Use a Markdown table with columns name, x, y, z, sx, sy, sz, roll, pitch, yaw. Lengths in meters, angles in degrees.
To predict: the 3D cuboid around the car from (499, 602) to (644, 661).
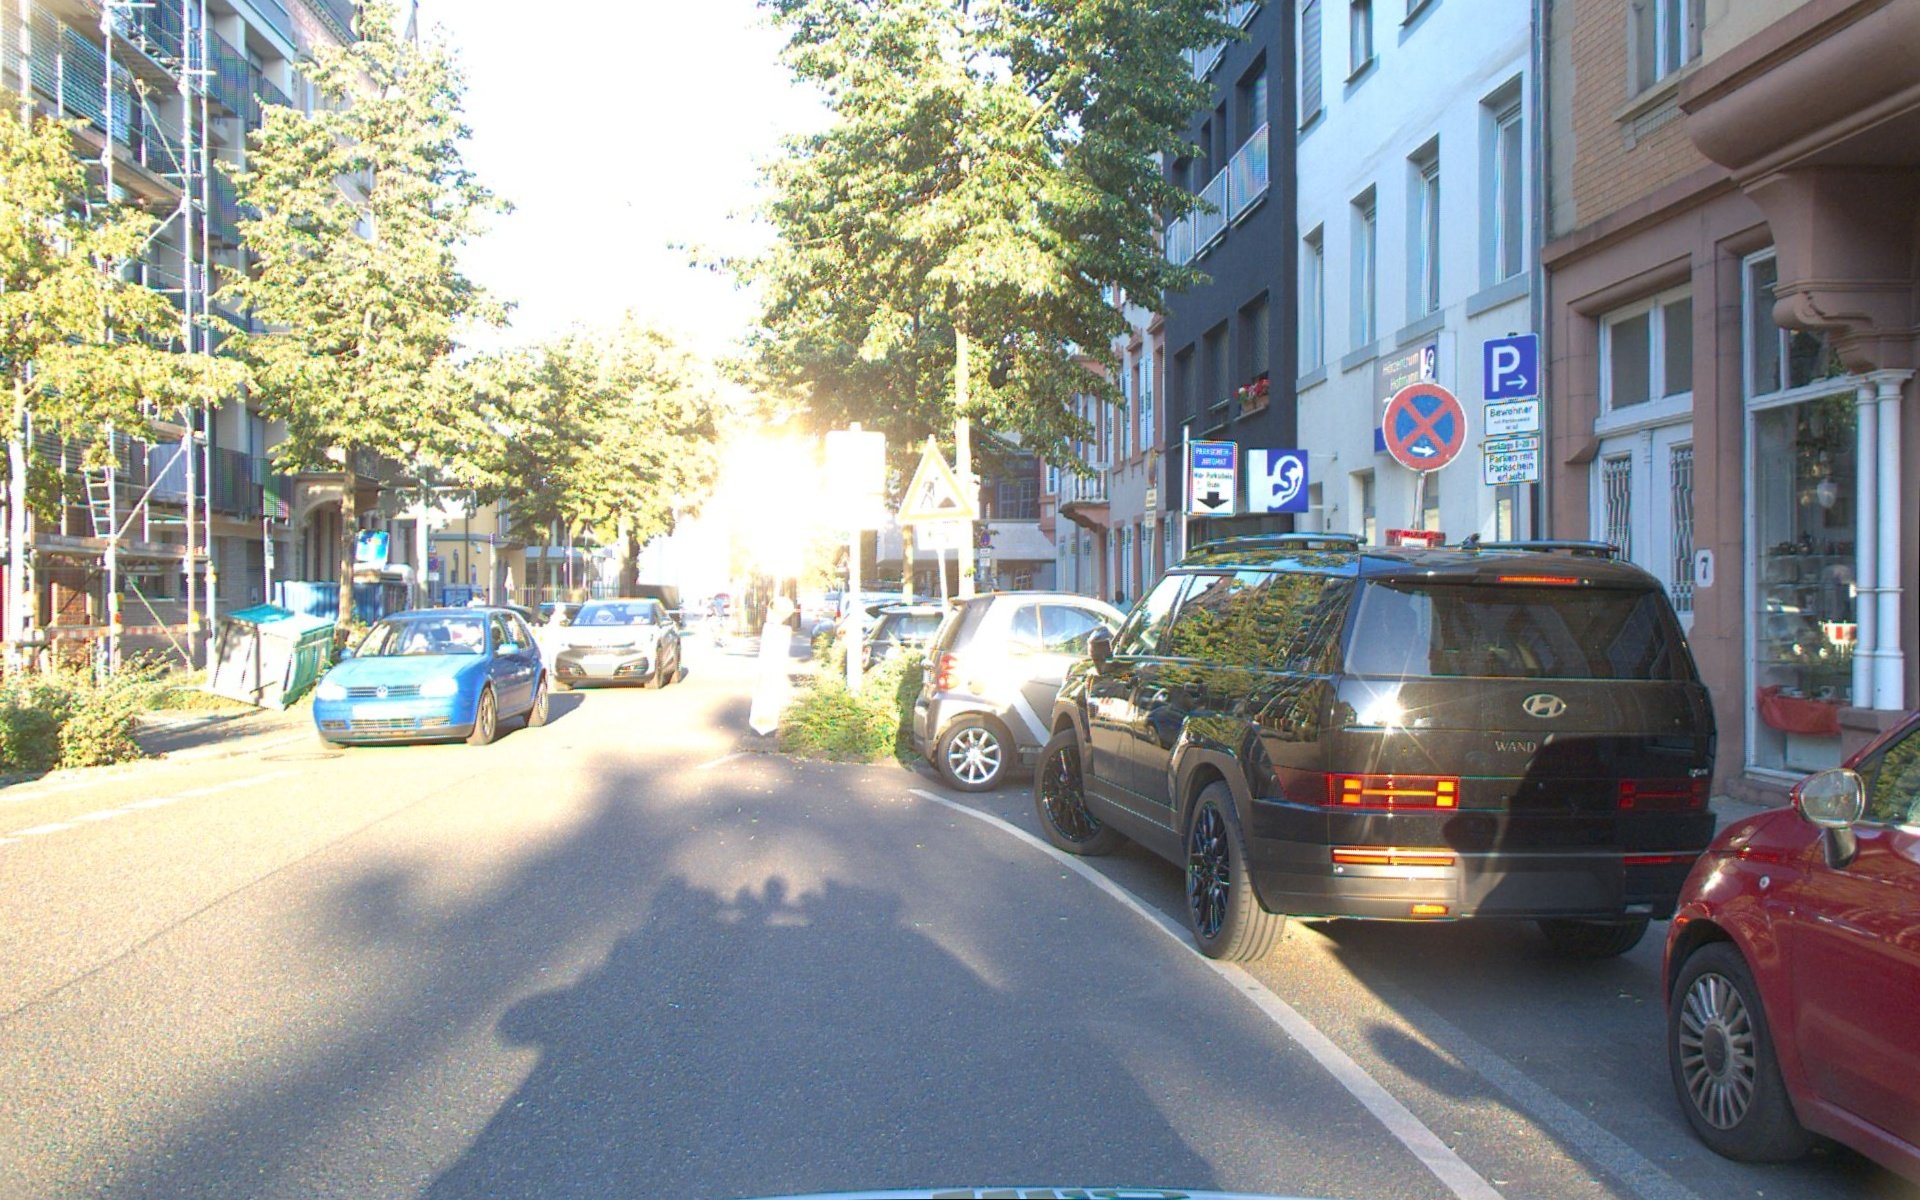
| name | x | y | z | sx | sy | sz | roll | pitch | yaw |
| --- | --- | --- | --- | --- | --- | --- | --- | --- | --- |
| car | -11.509 | 0.907 | 49.185 | 3.906 | 1.713 | 1.890 | 0 | 0 | -2 |

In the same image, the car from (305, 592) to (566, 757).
| name | x | y | z | sx | sy | sz | roll | pitch | yaw |
| --- | --- | --- | --- | --- | --- | --- | --- | --- | --- |
| car | -5.677 | 0.734 | 18.422 | 1.654 | 1.590 | 4.117 | -2 | 0 | -2 |

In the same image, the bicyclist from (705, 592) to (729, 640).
| name | x | y | z | sx | sy | sz | roll | pitch | yaw |
| --- | --- | --- | --- | --- | --- | --- | --- | --- | --- |
| bicyclist | -8.226 | 0.540 | 55.975 | 0.493 | 1.634 | 0.754 | 0 | 0 | -35 |

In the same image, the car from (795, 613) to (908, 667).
| name | x | y | z | sx | sy | sz | roll | pitch | yaw |
| --- | --- | --- | --- | --- | --- | --- | --- | --- | --- |
| car | -3.359 | 1.232 | 51.690 | 1.817 | 1.595 | 3.691 | 1 | 0 | 29 |

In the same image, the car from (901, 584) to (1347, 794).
| name | x | y | z | sx | sy | sz | roll | pitch | yaw |
| --- | --- | --- | --- | --- | --- | --- | --- | --- | --- |
| car | 1.317 | 0.677 | 13.773 | 3.409 | 1.603 | 1.503 | 0 | 0 | -13 |

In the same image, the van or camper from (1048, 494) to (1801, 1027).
| name | x | y | z | sx | sy | sz | roll | pitch | yaw |
| --- | --- | --- | --- | --- | --- | --- | --- | --- | --- |
| van or camper | 1.802 | 0.553 | 8.063 | 1.855 | 1.839 | 4.451 | 0 | 0 | -9 |

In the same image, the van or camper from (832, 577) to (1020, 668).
| name | x | y | z | sx | sy | sz | roll | pitch | yaw |
| --- | --- | --- | --- | --- | --- | --- | --- | --- | --- |
| van or camper | -0.859 | 0.528 | 39.650 | 4.354 | 2.041 | 1.856 | 1 | 0 | -6 |

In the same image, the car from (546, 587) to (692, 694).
| name | x | y | z | sx | sy | sz | roll | pitch | yaw |
| --- | --- | --- | --- | --- | --- | --- | --- | --- | --- |
| car | -6.117 | 0.679 | 30.128 | 1.835 | 1.727 | 4.320 | -2 | 0 | -2 |

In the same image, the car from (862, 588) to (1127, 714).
| name | x | y | z | sx | sy | sz | roll | pitch | yaw |
| --- | --- | --- | --- | --- | --- | --- | --- | --- | --- |
| car | 0.445 | 0.714 | 23.901 | 3.614 | 1.699 | 1.856 | 1 | 0 | -6 |

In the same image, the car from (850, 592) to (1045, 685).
| name | x | y | z | sx | sy | sz | roll | pitch | yaw |
| --- | --- | --- | --- | --- | --- | --- | --- | --- | --- |
| car | -0.281 | 0.727 | 32.132 | 3.614 | 1.699 | 1.856 | 1 | 0 | -6 |

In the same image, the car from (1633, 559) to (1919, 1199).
| name | x | y | z | sx | sy | sz | roll | pitch | yaw |
| --- | --- | --- | --- | --- | --- | --- | --- | --- | --- |
| car | 2.922 | 0.718 | 3.489 | 1.495 | 1.597 | 3.420 | 1 | 0 | -2 |

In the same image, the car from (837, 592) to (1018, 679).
| name | x | y | z | sx | sy | sz | roll | pitch | yaw |
| --- | --- | --- | --- | --- | --- | --- | --- | --- | --- |
| car | -0.718 | 0.731 | 34.520 | 3.614 | 1.699 | 1.856 | 1 | 0 | -6 |

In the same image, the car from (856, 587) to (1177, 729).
| name | x | y | z | sx | sy | sz | roll | pitch | yaw |
| --- | --- | --- | --- | --- | --- | --- | --- | --- | --- |
| car | 0.664 | 0.728 | 21.365 | 3.918 | 1.699 | 1.856 | 1 | 0 | -6 |

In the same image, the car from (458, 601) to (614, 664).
| name | x | y | z | sx | sy | sz | roll | pitch | yaw |
| --- | --- | --- | --- | --- | --- | --- | --- | --- | --- |
| car | -11.856 | 0.890 | 46.478 | 3.906 | 1.713 | 1.890 | 0 | 0 | -2 |

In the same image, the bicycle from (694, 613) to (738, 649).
| name | x | y | z | sx | sy | sz | roll | pitch | yaw |
| --- | --- | --- | --- | --- | --- | --- | --- | --- | --- |
| bicycle | -8.270 | 1.038 | 56.044 | 0.509 | 1.152 | 2.251 | 0 | 0 | -35 |
